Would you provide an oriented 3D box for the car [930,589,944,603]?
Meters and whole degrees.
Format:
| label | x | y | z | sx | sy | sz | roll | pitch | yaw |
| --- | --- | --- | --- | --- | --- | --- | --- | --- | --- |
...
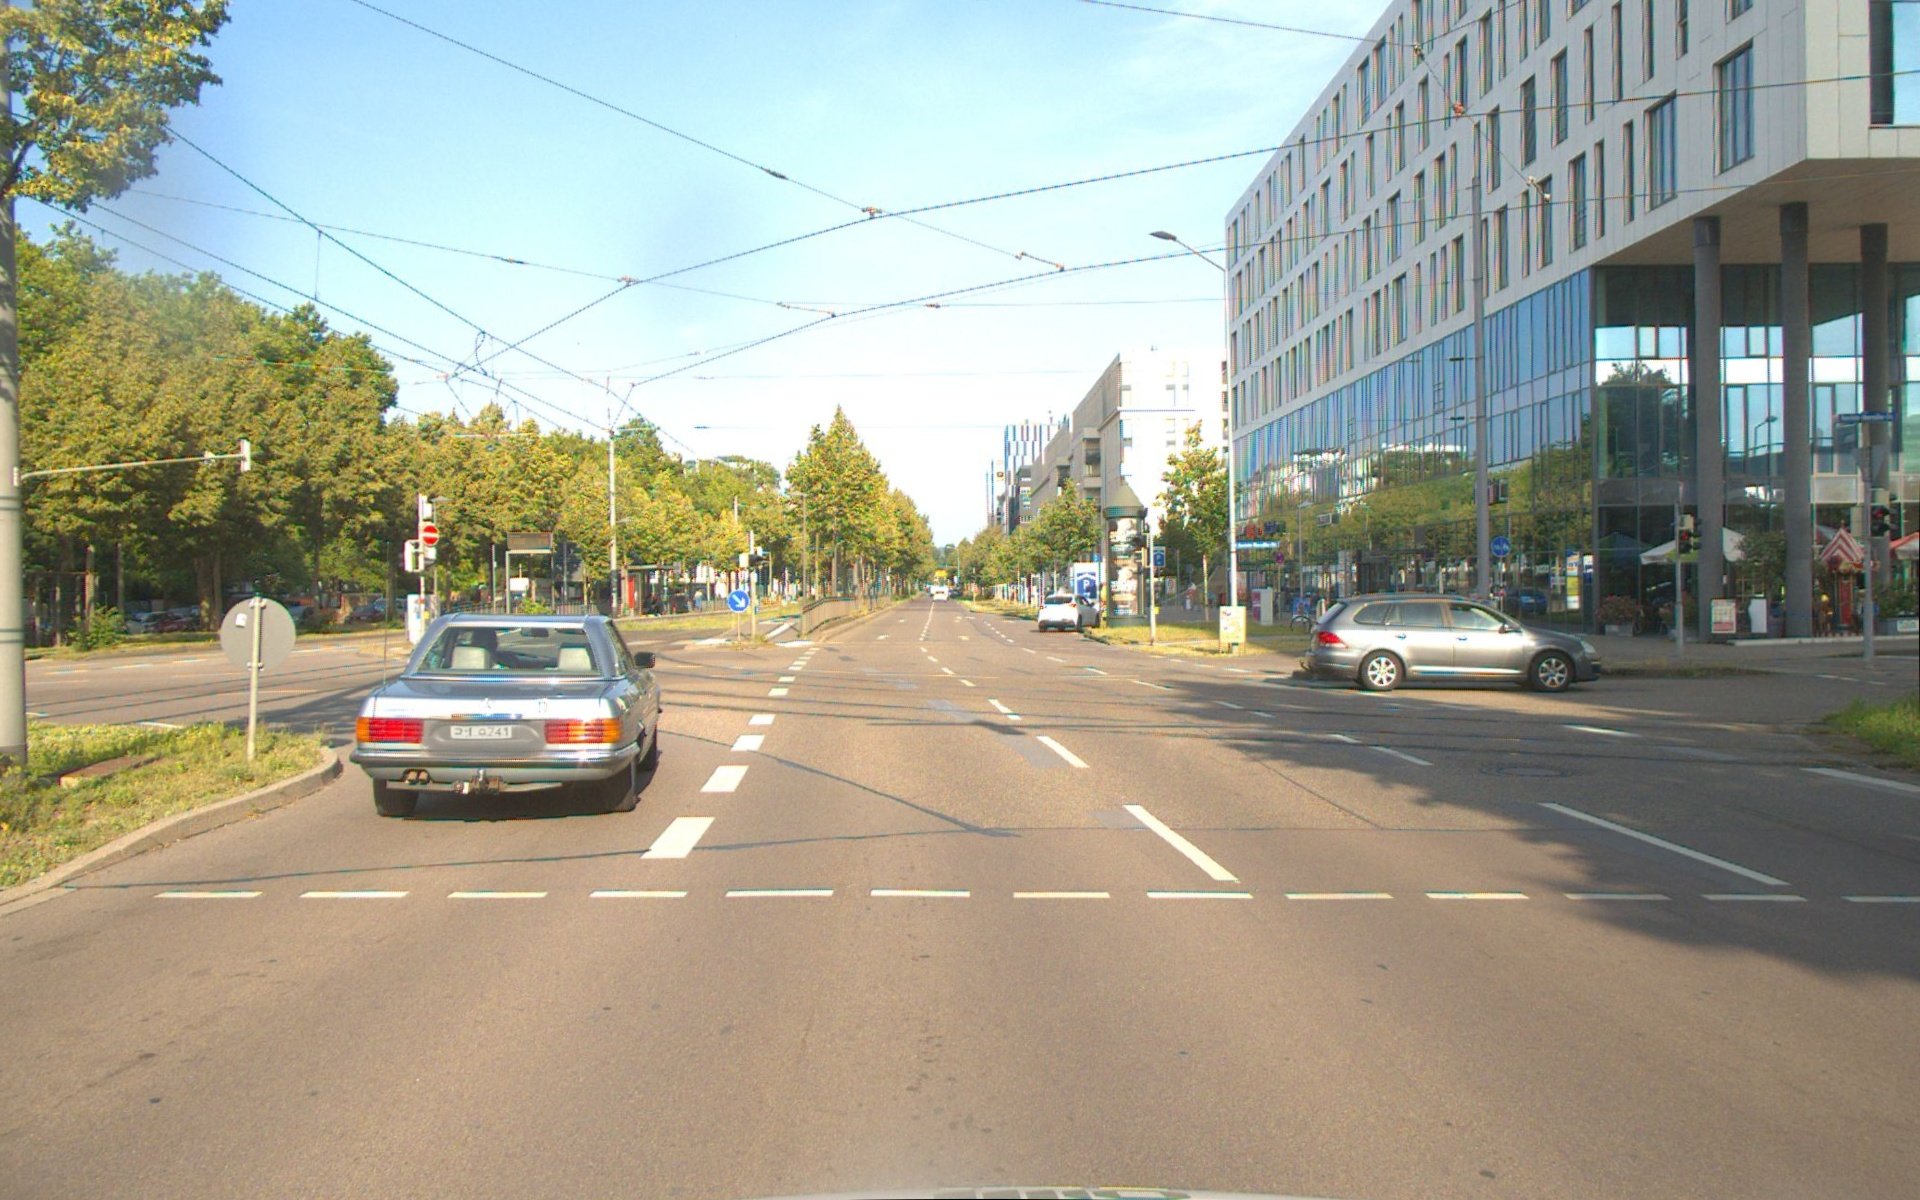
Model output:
| label | x | y | z | sx | sy | sz | roll | pitch | yaw |
| --- | --- | --- | --- | --- | --- | --- | --- | --- | --- |
| car | -2.915 | -0.493 | 210.270 | 1.826 | 1.713 | 4.000 | 1 | 1 | 0 |

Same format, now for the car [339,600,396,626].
| label | x | y | z | sx | sy | sz | roll | pitch | yaw |
| --- | --- | --- | --- | --- | --- | --- | --- | --- | --- |
| car | -36.888 | 0.790 | 103.046 | 1.841 | 1.586 | 4.002 | -1 | 0 | 4 |

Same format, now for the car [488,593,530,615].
| label | x | y | z | sx | sy | sz | roll | pitch | yaw |
| --- | --- | --- | --- | --- | --- | --- | --- | --- | --- |
| car | -35.044 | 0.296 | 128.557 | 1.841 | 1.586 | 4.002 | -1 | 0 | 4 |

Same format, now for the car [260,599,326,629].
| label | x | y | z | sx | sy | sz | roll | pitch | yaw |
| --- | --- | --- | --- | --- | --- | --- | --- | --- | --- |
| car | -37.715 | 0.778 | 93.581 | 1.841 | 1.586 | 4.002 | -1 | 0 | 4 |

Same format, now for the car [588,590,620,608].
| label | x | y | z | sx | sy | sz | roll | pitch | yaw |
| --- | --- | --- | --- | --- | --- | --- | --- | --- | --- |
| car | -33.420 | -0.077 | 155.429 | 1.841 | 1.586 | 4.002 | -1 | 0 | 4 |

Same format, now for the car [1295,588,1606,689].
| label | x | y | z | sx | sy | sz | roll | pitch | yaw |
| --- | --- | --- | --- | --- | --- | --- | --- | --- | --- |
| car | 7.575 | 0.584 | 25.913 | 4.462 | 1.487 | 1.736 | 0 | 0 | 8 |

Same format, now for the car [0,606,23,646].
| label | x | y | z | sx | sy | sz | roll | pitch | yaw |
| --- | --- | --- | --- | --- | --- | --- | --- | --- | --- |
| car | -39.338 | 1.053 | 65.591 | 1.841 | 1.586 | 4.002 | -1 | 0 | 4 |

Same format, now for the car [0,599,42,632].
| label | x | y | z | sx | sy | sz | roll | pitch | yaw |
| --- | --- | --- | --- | --- | --- | --- | --- | --- | --- |
| car | -46.667 | 0.758 | 80.223 | 1.841 | 1.586 | 4.002 | -1 | 0 | 4 |

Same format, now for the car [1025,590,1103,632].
| label | x | y | z | sx | sy | sz | roll | pitch | yaw |
| --- | --- | --- | --- | --- | --- | --- | --- | --- | --- |
| car | 4.181 | 0.421 | 66.069 | 1.952 | 1.530 | 4.093 | -3 | -1 | 20 |

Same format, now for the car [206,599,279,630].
| label | x | y | z | sx | sy | sz | roll | pitch | yaw |
| --- | --- | --- | --- | --- | --- | --- | --- | --- | --- |
| car | -38.134 | 0.762 | 88.002 | 1.841 | 1.586 | 4.002 | -1 | 0 | 4 |

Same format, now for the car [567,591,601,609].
| label | x | y | z | sx | sy | sz | roll | pitch | yaw |
| --- | --- | --- | --- | --- | --- | --- | --- | --- | --- |
| car | -33.862 | 0.004 | 148.998 | 1.841 | 1.586 | 4.002 | -1 | 0 | 4 |

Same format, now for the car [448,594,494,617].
| label | x | y | z | sx | sy | sz | roll | pitch | yaw |
| --- | --- | --- | --- | --- | --- | --- | --- | --- | --- |
| car | -35.628 | 0.398 | 120.626 | 1.841 | 1.586 | 4.002 | -1 | 0 | 4 |

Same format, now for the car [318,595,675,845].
| label | x | y | z | sx | sy | sz | roll | pitch | yaw |
| --- | --- | --- | --- | --- | --- | --- | --- | --- | --- |
| car | -3.043 | 0.677 | 11.733 | 1.730 | 1.353 | 4.394 | -1 | 1 | -7 |

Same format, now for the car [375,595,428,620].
| label | x | y | z | sx | sy | sz | roll | pitch | yaw |
| --- | --- | --- | --- | --- | --- | --- | --- | --- | --- |
| car | -36.458 | 0.467 | 108.133 | 1.841 | 1.586 | 4.002 | -1 | 0 | 4 |

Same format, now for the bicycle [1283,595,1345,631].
| label | x | y | z | sx | sy | sz | roll | pitch | yaw |
| --- | --- | --- | --- | --- | --- | --- | --- | --- | --- |
| bicycle | 11.363 | 0.403 | 53.152 | 0.768 | 1.050 | 1.848 | -1 | 3 | -44 |
